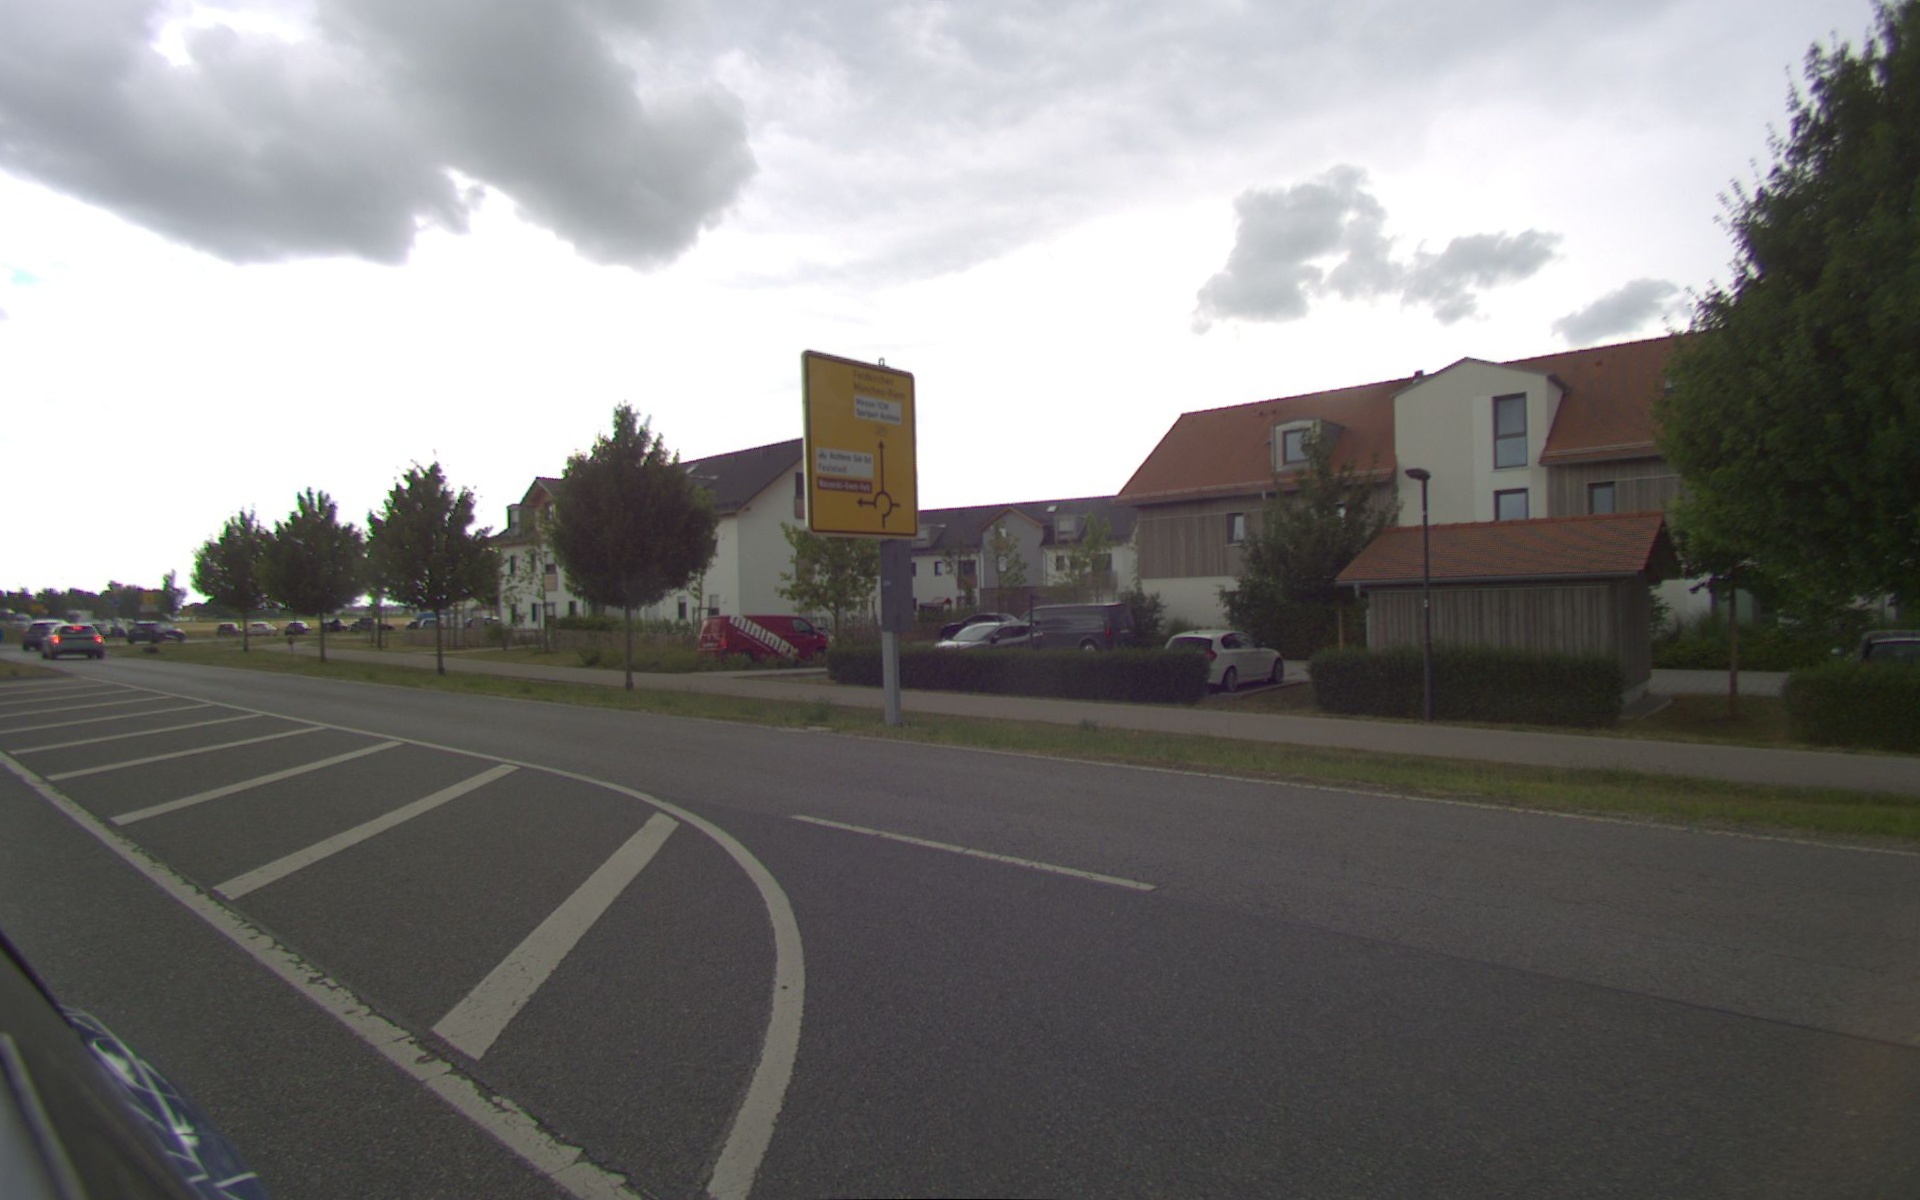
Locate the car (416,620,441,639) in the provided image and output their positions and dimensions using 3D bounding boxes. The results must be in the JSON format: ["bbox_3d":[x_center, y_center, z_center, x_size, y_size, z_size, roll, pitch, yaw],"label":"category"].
[{"bbox_3d":[-57.544,3.167,109.691,1.965,2.029,4.013,0,-2,-21],"label":"car"}]

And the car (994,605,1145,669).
[{"bbox_3d":[3.873,1.297,36.472,5.201,2.028,1.972,-2,2,44],"label":"car"}]

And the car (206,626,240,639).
[{"bbox_3d":[-73.078,3.232,100.417,1.965,1.298,4.013,1,-2,-25],"label":"car"}]

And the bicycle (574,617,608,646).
[{"bbox_3d":[-18.813,1.605,51.579,2.093,1.439,0.675,-2,-2,41],"label":"bicycle"}]

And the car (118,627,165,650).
[{"bbox_3d":[-52.186,2.438,64.595,1.745,1.455,4.012,1,-2,-30],"label":"car"}]

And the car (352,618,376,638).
[{"bbox_3d":[-61.745,2.873,104.825,1.966,2.029,4.010,1,-2,-34],"label":"car"}]

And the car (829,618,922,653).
[{"bbox_3d":[-3.857,1.587,45.666,3.998,1.519,1.973,-2,-2,41],"label":"car"}]

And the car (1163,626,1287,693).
[{"bbox_3d":[6.458,1.388,24.487,1.562,1.501,3.478,-2,-2,40],"label":"car"}]

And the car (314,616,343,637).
[{"bbox_3d":[-64.686,2.717,103.742,1.965,2.029,4.013,1,-2,-25],"label":"car"}]

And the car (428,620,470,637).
[{"bbox_3d":[-60.121,3.334,119.002,1.994,2.029,3.956,-1,-2,32],"label":"car"}]

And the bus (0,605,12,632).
[{"bbox_3d":[-122.586,2.343,128.197,6.480,3.305,2.953,-2,-2,40],"label":"bus"}]

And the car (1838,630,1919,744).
[{"bbox_3d":[15.281,1.293,16.007,2.000,1.630,3.944,-2,-2,42],"label":"car"}]

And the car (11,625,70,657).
[{"bbox_3d":[-48.748,2.170,53.643,4.213,1.594,1.806,-2,-3,41],"label":"car"}]

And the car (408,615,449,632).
[{"bbox_3d":[-65.325,2.952,124.431,1.991,2.029,3.961,-1,-2,28],"label":"car"}]

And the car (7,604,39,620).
[{"bbox_3d":[-86.193,1.114,93.110,3.998,1.455,1.752,-2,-2,41],"label":"car"}]

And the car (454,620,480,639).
[{"bbox_3d":[-53.841,3.176,110.518,2.194,2.029,4.013,0,-2,-21],"label":"car"}]

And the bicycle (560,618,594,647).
[{"bbox_3d":[-19.295,1.640,50.985,2.093,1.428,0.675,-2,-2,41],"label":"bicycle"}]

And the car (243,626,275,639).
[{"bbox_3d":[-70.263,3.250,101.443,1.965,1.298,4.013,1,-2,-25],"label":"car"}]

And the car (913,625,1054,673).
[{"bbox_3d":[0.849,1.549,32.992,1.905,1.441,4.853,-2,-2,42],"label":"car"}]

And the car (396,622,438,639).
[{"bbox_3d":[-64.276,3.606,119.919,1.991,2.029,3.961,-1,-2,28],"label":"car"}]

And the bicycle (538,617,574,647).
[{"bbox_3d":[-20.094,1.594,50.346,2.342,1.423,0.675,-2,-2,41],"label":"bicycle"}]

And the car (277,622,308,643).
[{"bbox_3d":[-67.823,3.280,102.840,1.965,2.029,4.013,1,-2,-25],"label":"car"}]

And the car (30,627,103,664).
[{"bbox_3d":[-37.041,1.854,41.946,3.998,1.455,1.752,-2,-2,41],"label":"car"}]

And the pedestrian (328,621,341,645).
[{"bbox_3d":[-42.024,2.217,67.993,0.586,1.541,0.540,-2,0,41],"label":"pedestrian"}]

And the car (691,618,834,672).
[{"bbox_3d":[-7.072,1.599,36.588,4.848,1.830,1.907,1,-3,-44],"label":"car"}]
